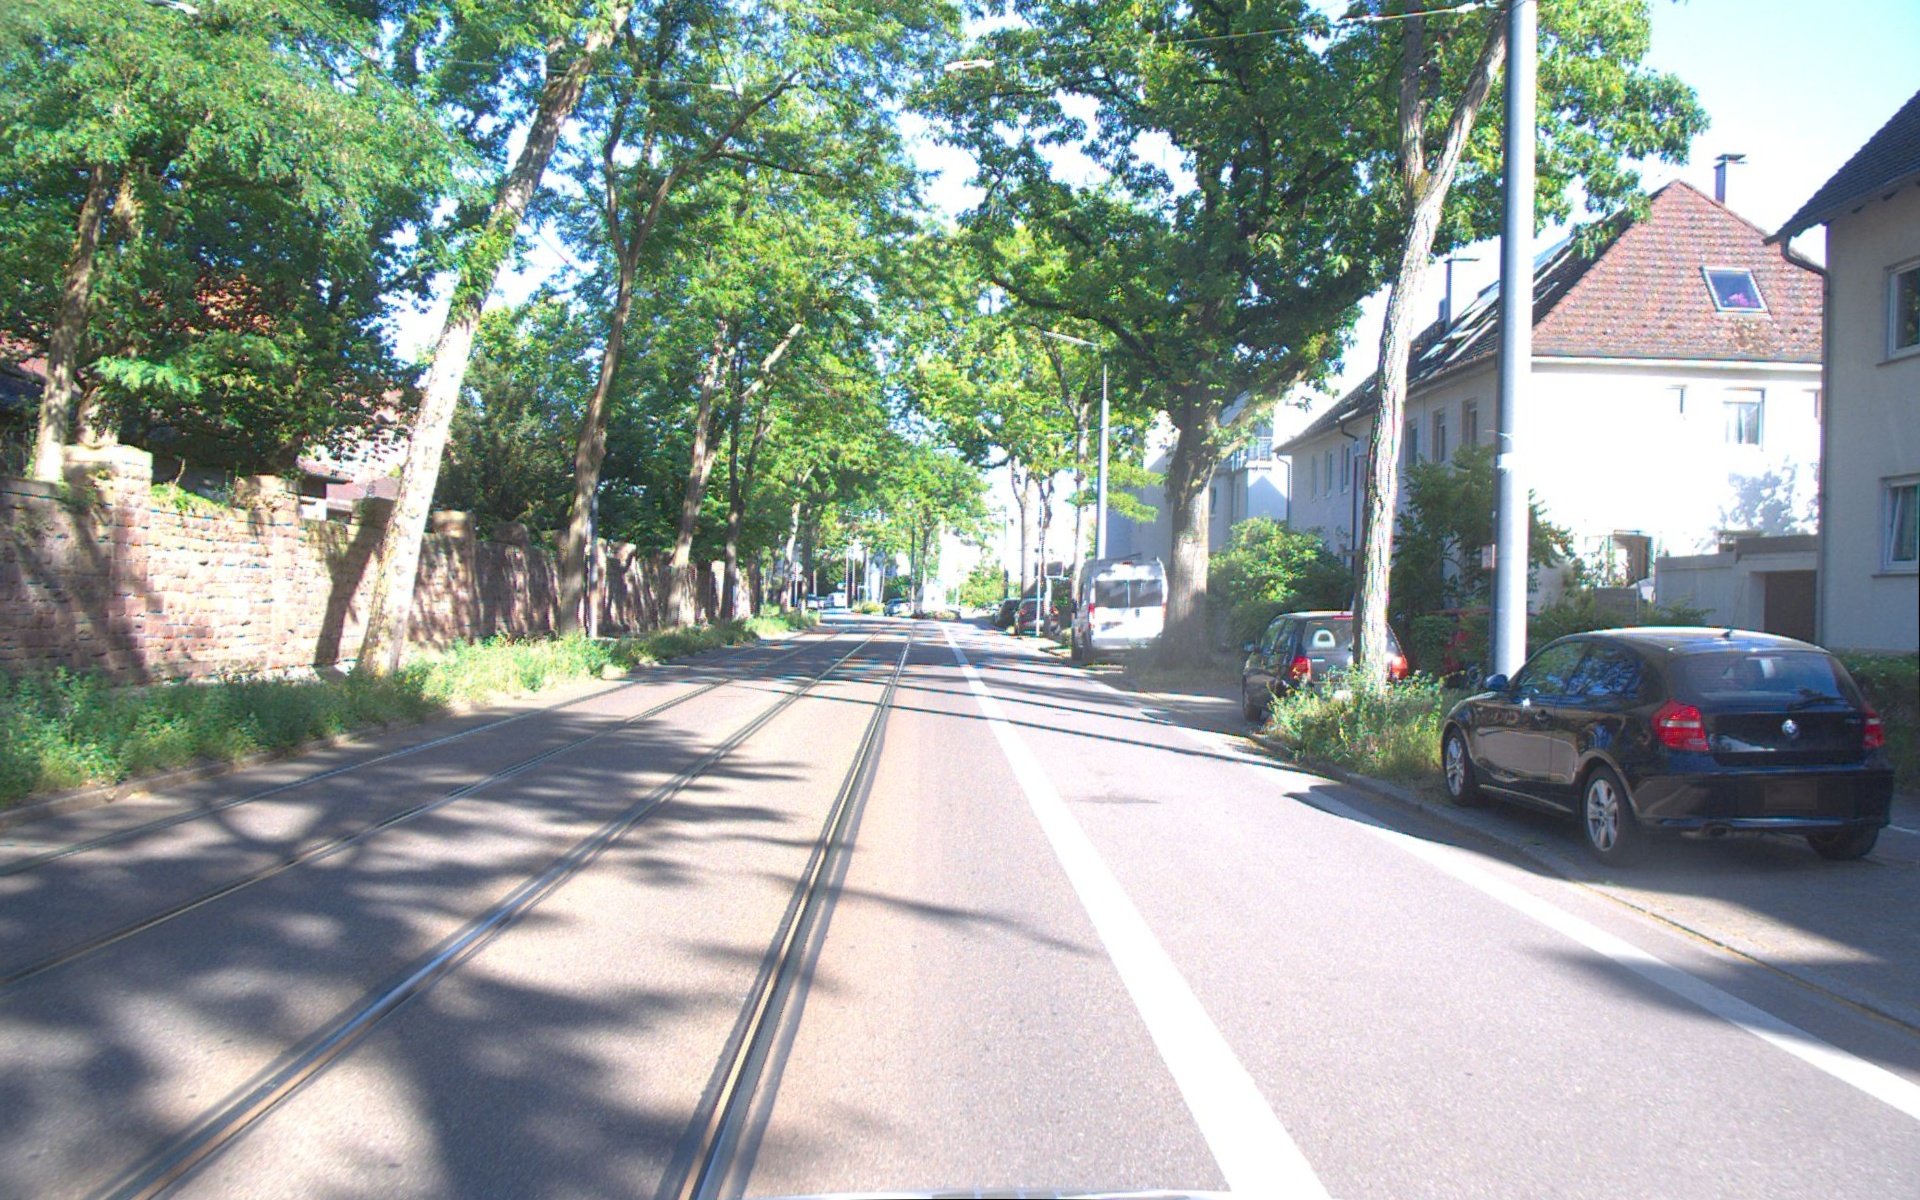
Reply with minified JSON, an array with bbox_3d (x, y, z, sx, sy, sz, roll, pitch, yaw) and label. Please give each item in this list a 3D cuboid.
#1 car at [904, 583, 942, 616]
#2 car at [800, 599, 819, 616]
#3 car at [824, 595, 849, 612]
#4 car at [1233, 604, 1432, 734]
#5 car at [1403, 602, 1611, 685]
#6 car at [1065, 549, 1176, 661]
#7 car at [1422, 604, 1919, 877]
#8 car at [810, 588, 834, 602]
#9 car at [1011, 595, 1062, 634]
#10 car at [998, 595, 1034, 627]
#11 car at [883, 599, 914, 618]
[{"bbox_3d":[-2.899,-0.074,128.042,1.960,2.501,4.492,1,0,-14],"label":"car"},{"bbox_3d":[-15.479,0.733,170.320,1.829,1.704,4.169,1,0,-4],"label":"car"},{"bbox_3d":[-14.631,0.373,195.599,1.972,1.943,4.369,-1,0,-19],"label":"car"},{"bbox_3d":[4.631,0.806,21.016,1.594,1.422,3.644,-2,0,-1],"label":"car"},{"bbox_3d":[10.270,0.786,31.137,3.340,1.461,1.728,0,0,-14],"label":"car"},{"bbox_3d":[4.066,0.122,42.837,2.200,2.700,5.583,0,0,-1],"label":"car"},{"bbox_3d":[4.836,0.812,11.666,1.748,1.473,4.299,-2,0,-3],"label":"car"},{"bbox_3d":[-16.817,-0.571,201.329,1.972,1.704,4.150,-1,0,-19],"label":"car"},{"bbox_3d":[3.435,0.646,74.736,1.962,1.704,4.391,-1,0,-1],"label":"car"},{"bbox_3d":[3.164,0.602,92.306,1.961,1.704,4.394,-1,0,3],"label":"car"},{"bbox_3d":[-5.425,0.718,145.890,1.968,1.588,4.377,1,0,-13],"label":"car"}]
